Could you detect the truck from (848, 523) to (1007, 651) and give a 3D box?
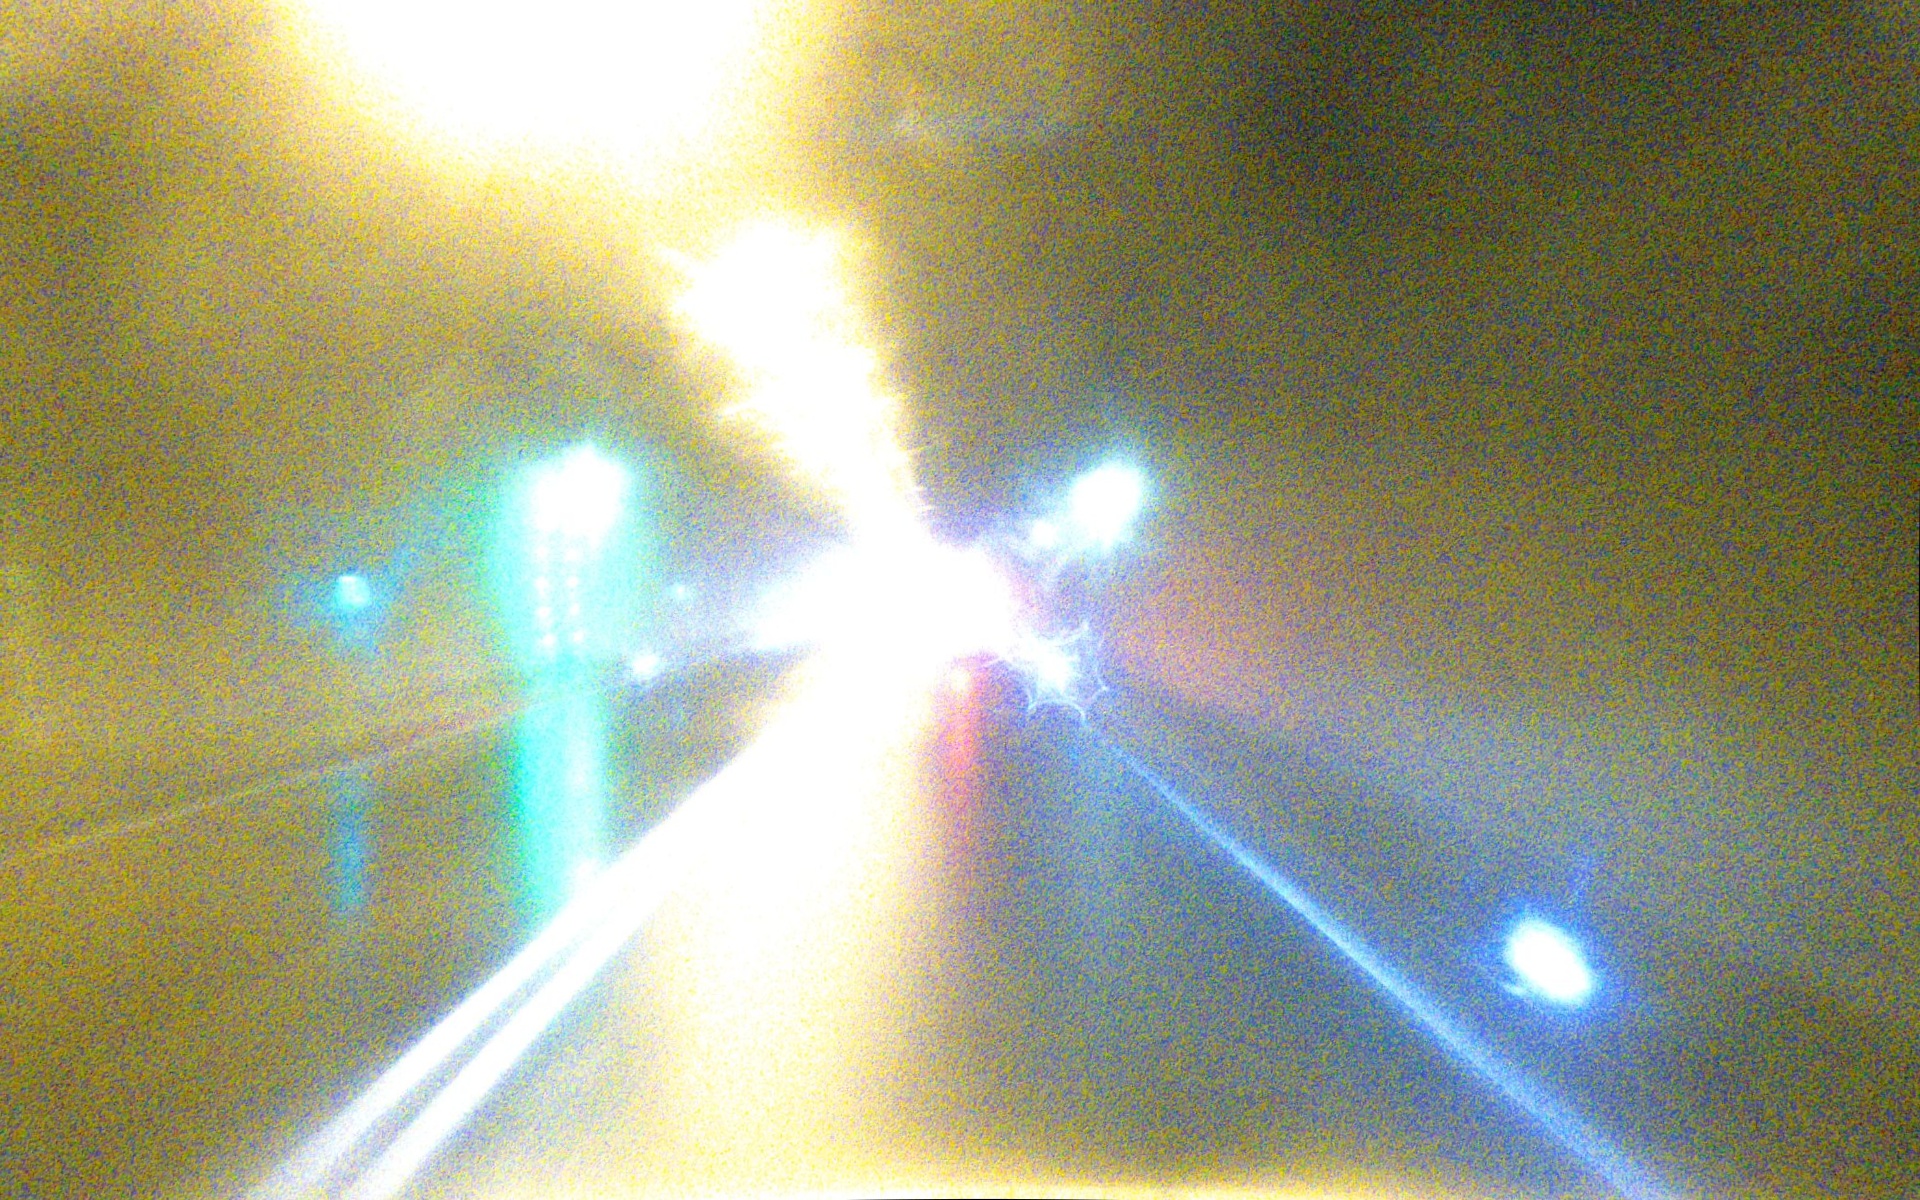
[{"bbox_3d":[-0.773,-0.304,41.086,3.463,2.740,8.954,-2,0,-1],"label":"truck"}]
